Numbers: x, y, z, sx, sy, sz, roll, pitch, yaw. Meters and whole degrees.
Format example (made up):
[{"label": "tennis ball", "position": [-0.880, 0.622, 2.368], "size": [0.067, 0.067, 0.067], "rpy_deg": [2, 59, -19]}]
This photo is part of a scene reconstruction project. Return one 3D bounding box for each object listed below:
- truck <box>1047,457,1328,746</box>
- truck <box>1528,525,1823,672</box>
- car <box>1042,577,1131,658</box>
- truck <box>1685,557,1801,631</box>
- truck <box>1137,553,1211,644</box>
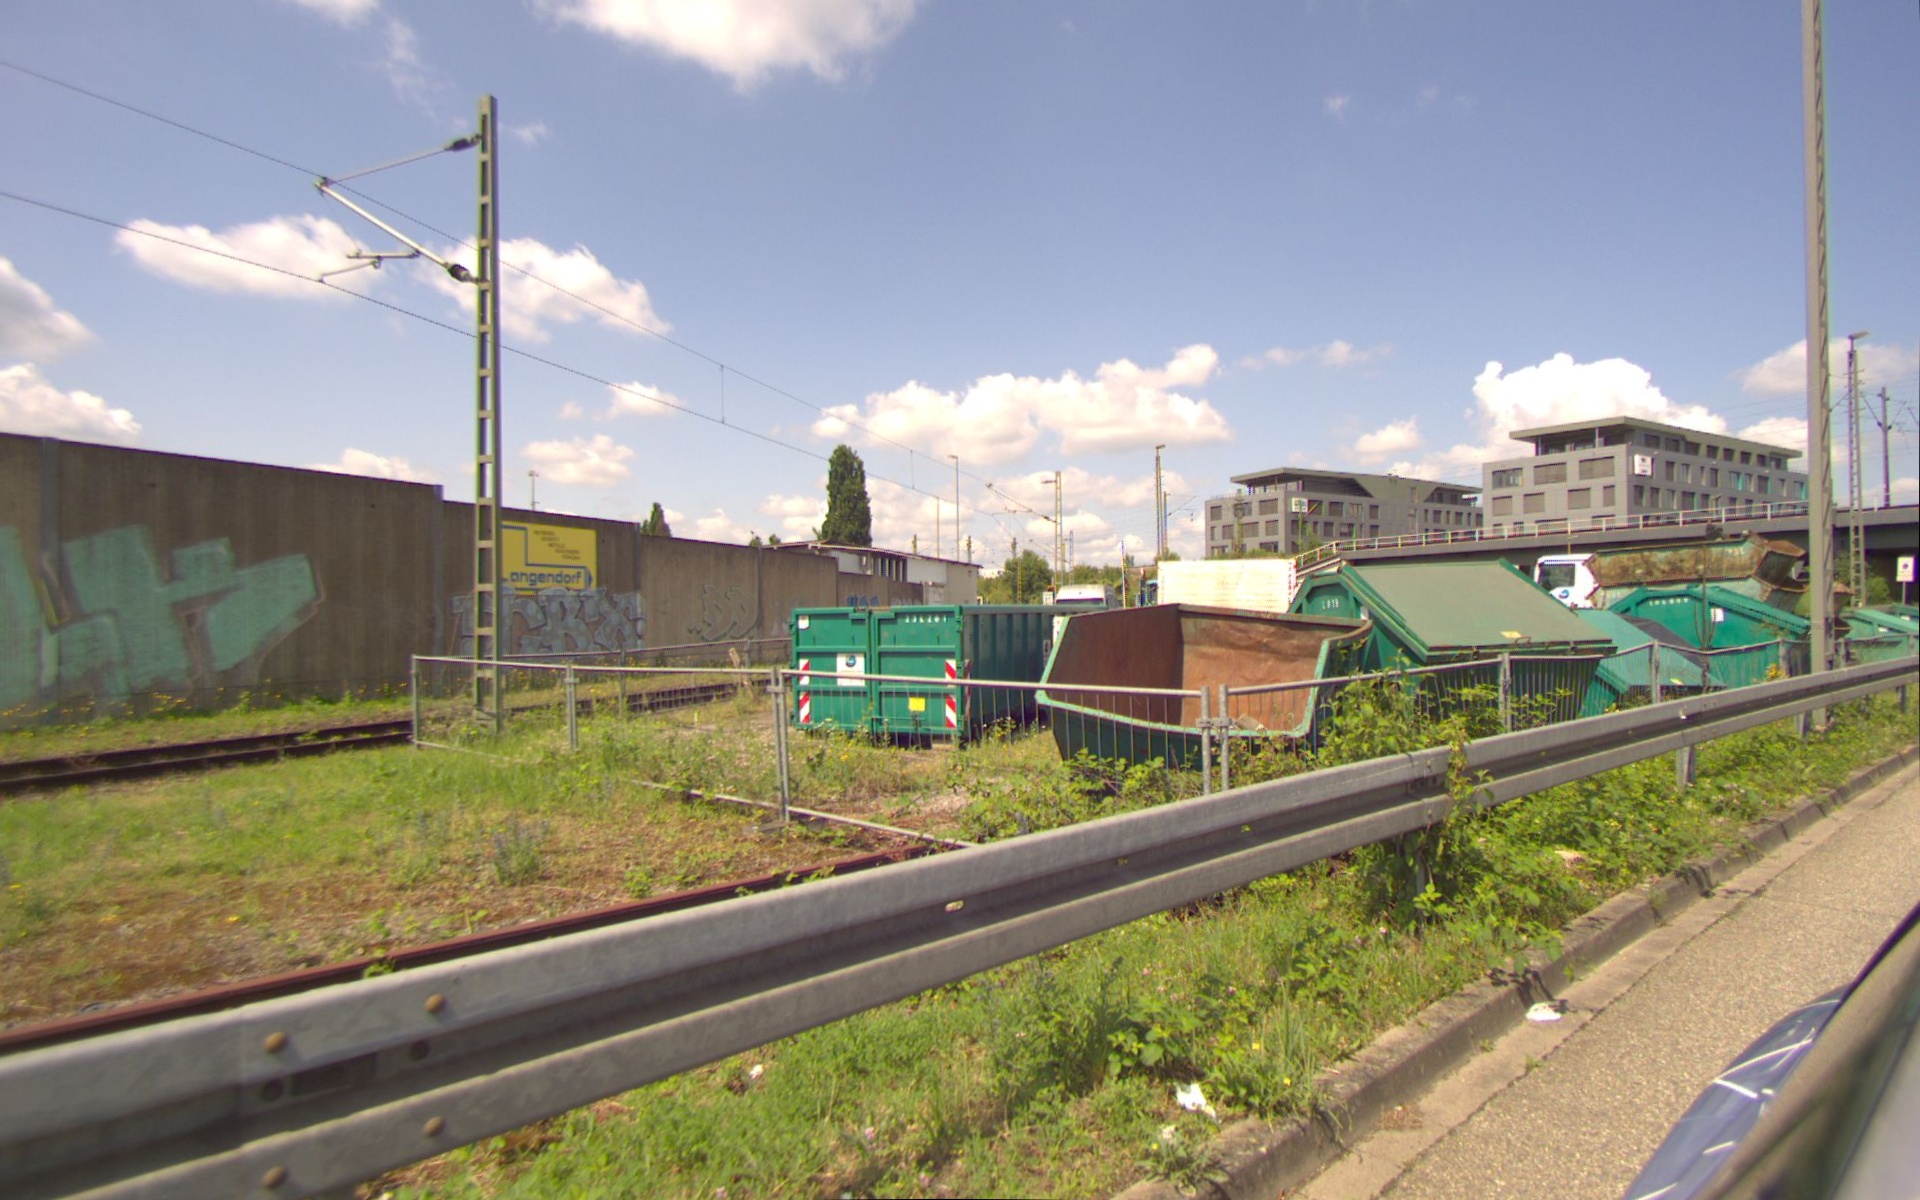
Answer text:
[{"label": "truck", "position": [4.123, 0.004, 16.450], "size": [2.963, 3.463, 8.047], "rpy_deg": [0, 0, 24]}, {"label": "truck", "position": [17.045, -0.042, 24.486], "size": [1.961, 3.137, 5.518], "rpy_deg": [0, 0, -32]}, {"label": "car", "position": [4.546, 0.581, 35.455], "size": [2.039, 2.559, 5.848], "rpy_deg": [-2, -1, 17]}, {"label": "truck", "position": [38.184, -0.279, 49.667], "size": [2.731, 3.315, 8.130], "rpy_deg": [0, 0, 25]}, {"label": "truck", "position": [9.425, -0.063, 45.216], "size": [2.611, 3.692, 6.873], "rpy_deg": [-2, 0, 8]}]
